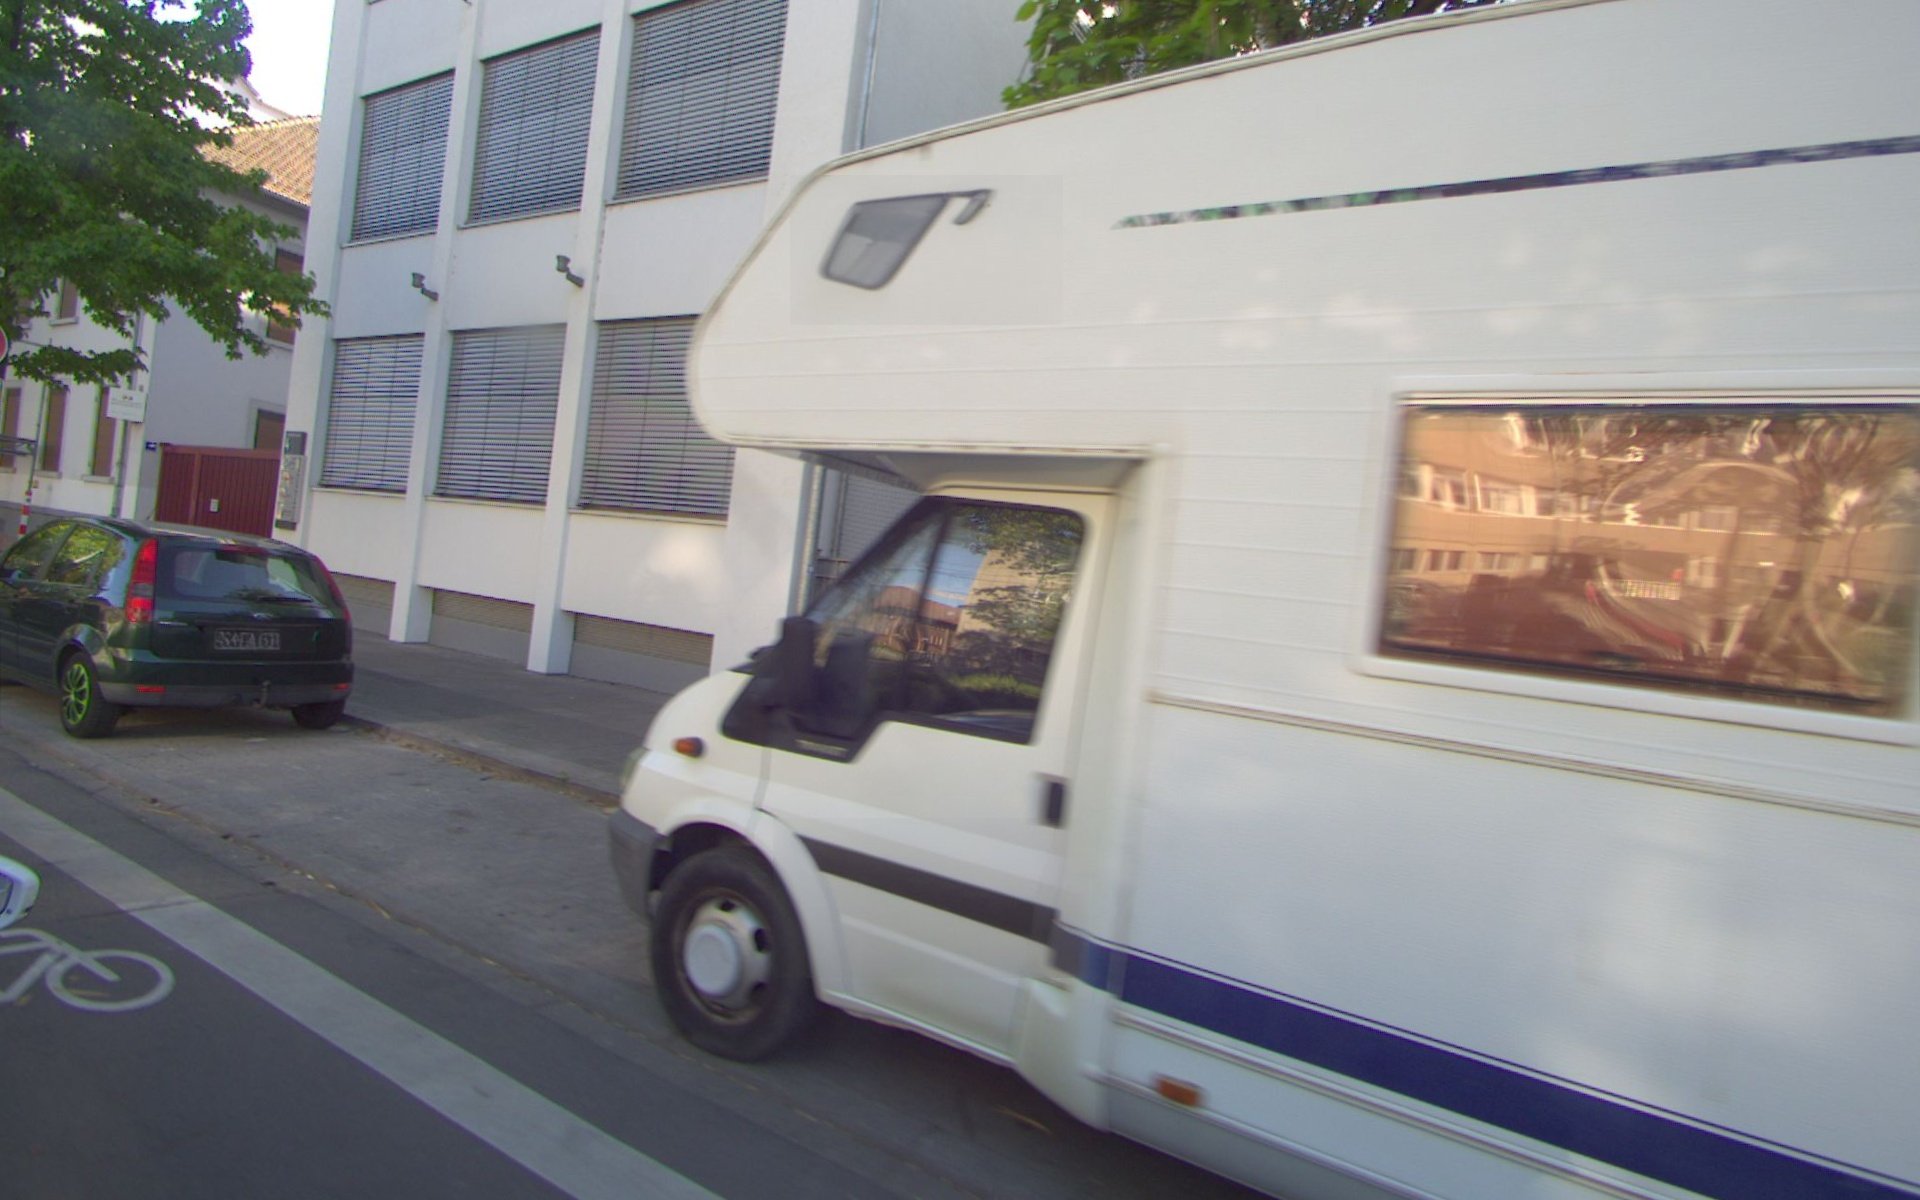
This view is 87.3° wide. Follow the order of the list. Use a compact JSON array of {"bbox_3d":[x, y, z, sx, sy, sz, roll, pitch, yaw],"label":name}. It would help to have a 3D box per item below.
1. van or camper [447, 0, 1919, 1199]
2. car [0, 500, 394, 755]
[{"bbox_3d":[2.028,0.152,2.682,7.425,3.167,2.376,7,3,31],"label":"van or camper"},{"bbox_3d":[-6.462,0.081,7.849,3.980,1.438,1.688,7,0,30],"label":"car"}]
